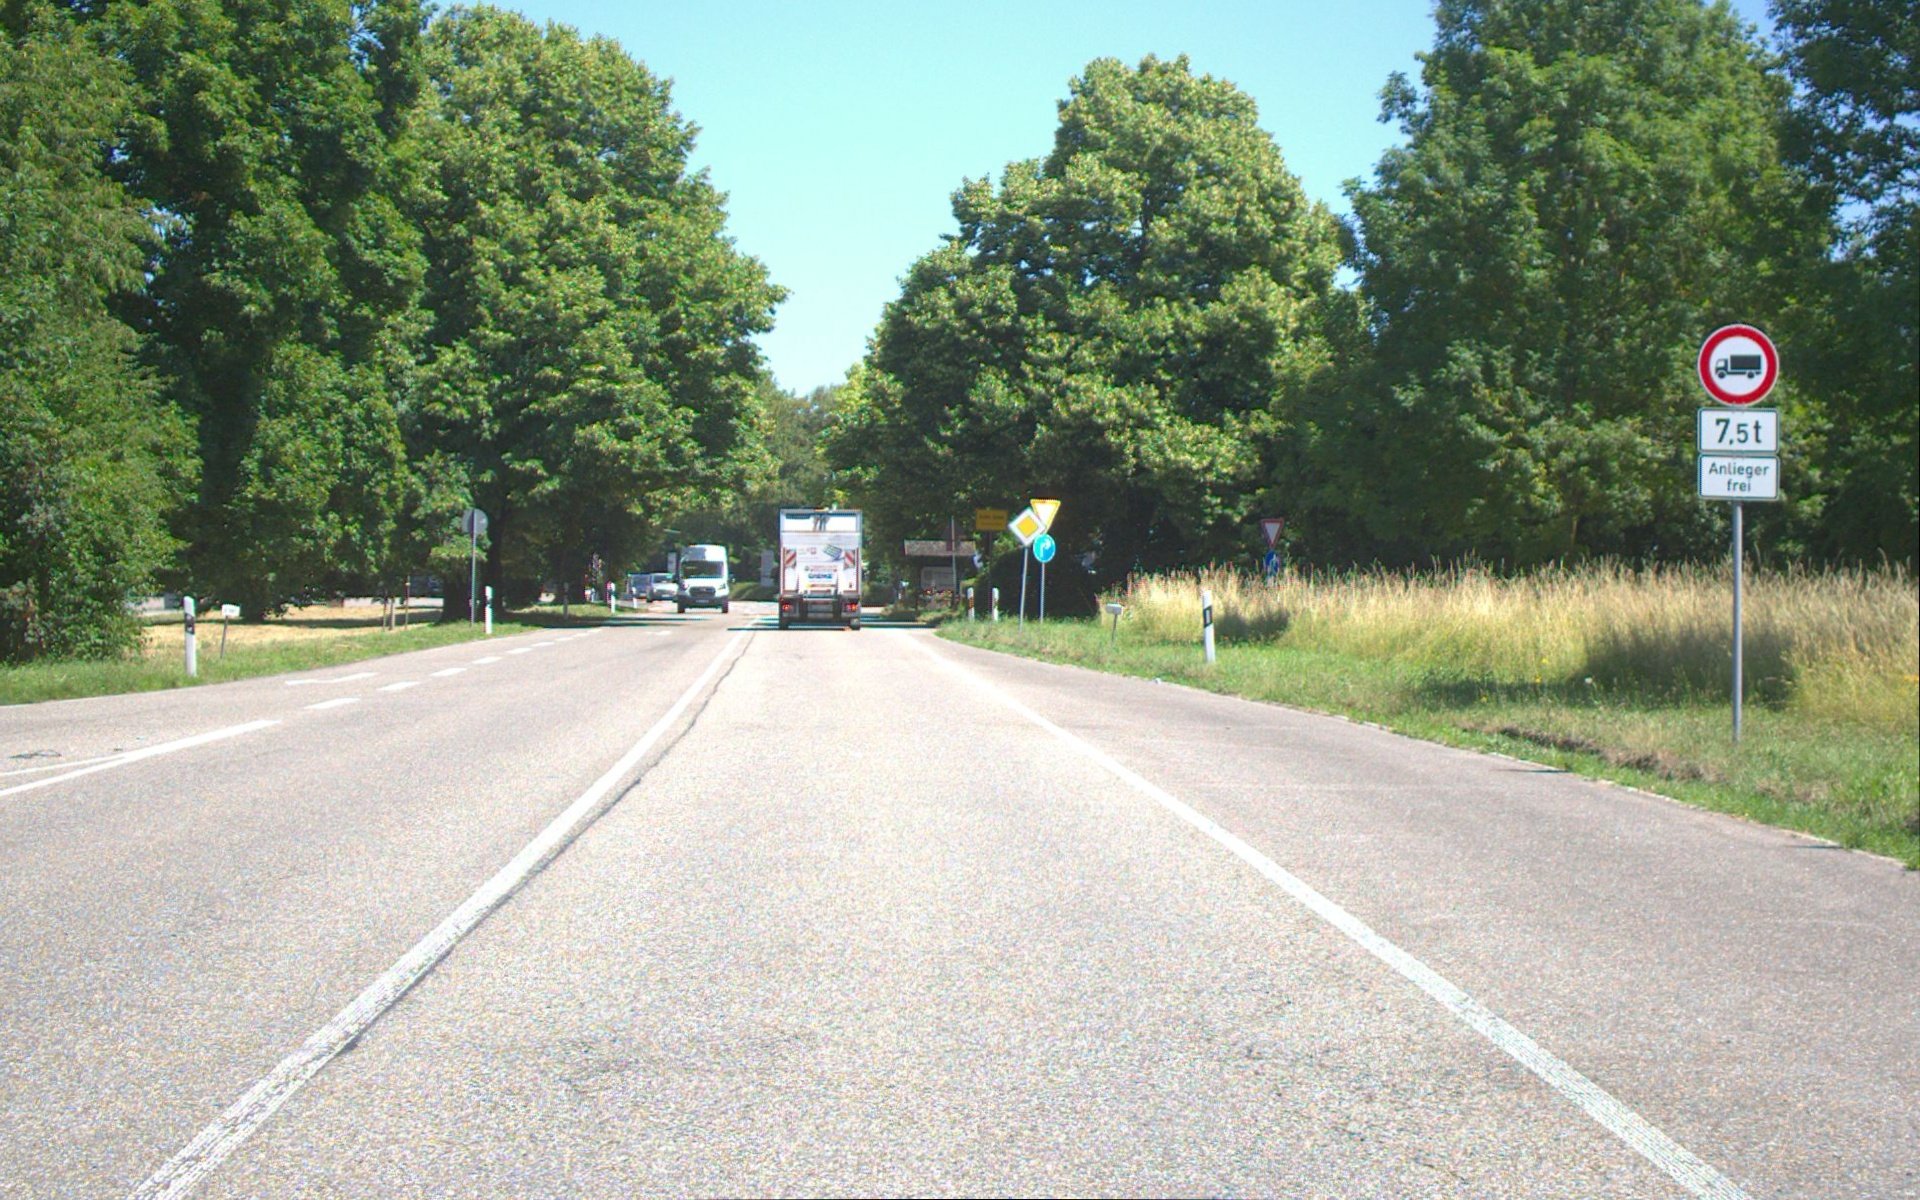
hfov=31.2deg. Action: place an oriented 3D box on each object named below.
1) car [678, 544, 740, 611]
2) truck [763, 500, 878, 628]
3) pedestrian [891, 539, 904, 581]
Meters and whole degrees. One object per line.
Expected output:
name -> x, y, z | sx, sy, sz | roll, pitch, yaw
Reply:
car -> -9.998, -0.891, 137.400 | 2.073, 2.618, 6.784 | 0, 0, -1
truck -> -3.462, -0.923, 86.441 | 2.534, 3.124, 5.361 | 0, 1, 1
pedestrian -> -2.642, -1.684, 145.396 | 0.548, 1.770, 0.577 | 0, 0, 2
